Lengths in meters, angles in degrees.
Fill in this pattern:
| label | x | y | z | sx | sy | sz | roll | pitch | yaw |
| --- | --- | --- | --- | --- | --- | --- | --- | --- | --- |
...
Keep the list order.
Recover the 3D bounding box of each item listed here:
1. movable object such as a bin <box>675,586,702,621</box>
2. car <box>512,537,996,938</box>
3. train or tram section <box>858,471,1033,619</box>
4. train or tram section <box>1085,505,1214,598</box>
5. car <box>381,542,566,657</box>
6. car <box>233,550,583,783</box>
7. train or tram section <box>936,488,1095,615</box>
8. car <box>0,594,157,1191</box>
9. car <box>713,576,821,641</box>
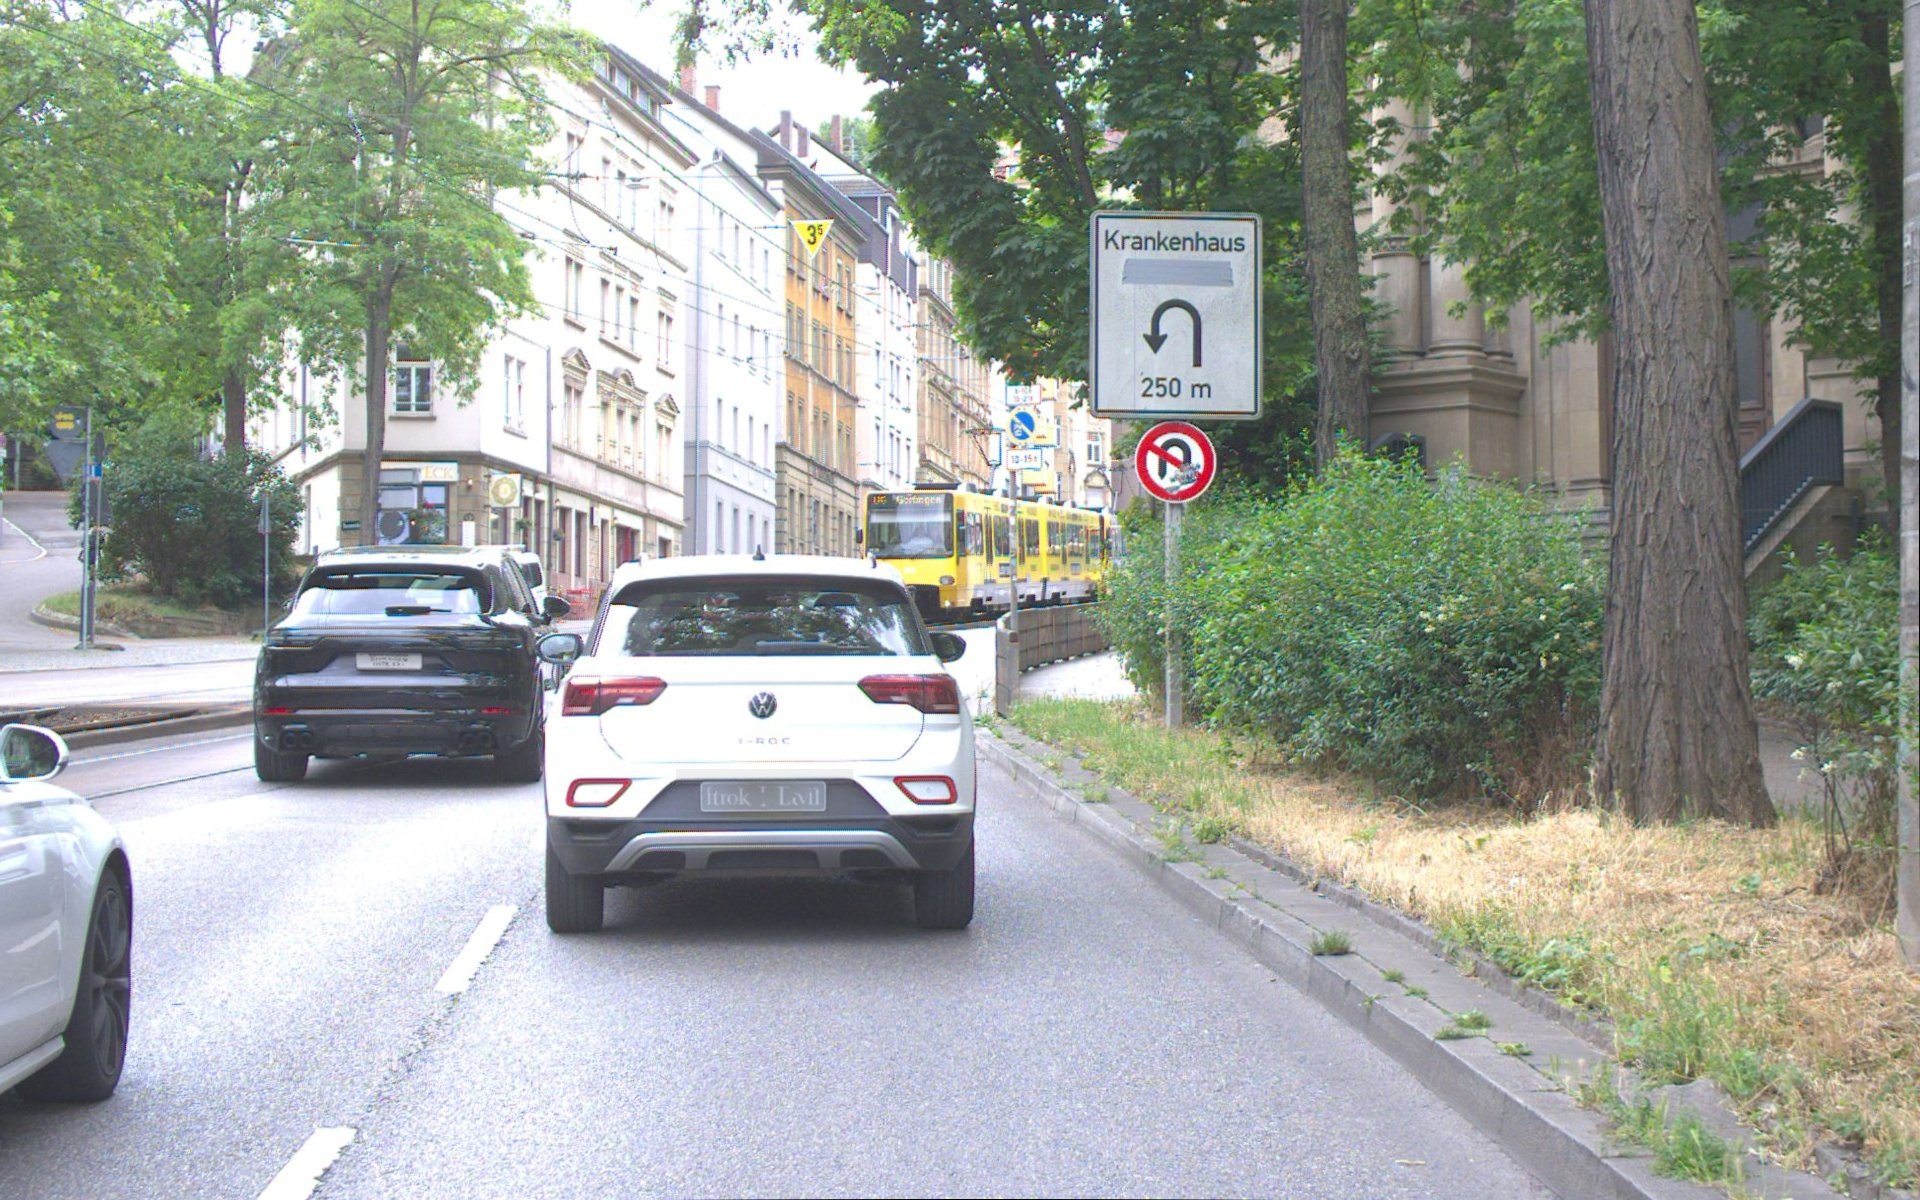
| label | x | y | z | sx | sy | sz | roll | pitch | yaw |
| --- | --- | --- | --- | --- | --- | --- | --- | --- | --- |
| movable object such as a bin | -8.293 | 0.105 | 105.040 | 0.687 | 1.070 | 0.676 | 0 | 0 | 9 |
| car | -0.975 | 0.521 | 15.396 | 1.878 | 1.549 | 4.001 | 0 | 0 | -5 |
| train or tram section | -0.218 | -1.457 | 95.270 | 2.883 | 3.713 | 14.852 | 1 | 0 | 7 |
| train or tram section | 8.370 | -1.991 | 148.784 | 2.878 | 3.713 | 18.747 | 1 | 0 | 11 |
| car | -8.557 | -0.044 | 60.894 | 1.948 | 1.939 | 5.001 | 0 | 1 | 8 |
| car | -3.963 | 0.433 | 25.396 | 2.038 | 1.566 | 4.358 | 0 | 0 | -2 |
| train or tram section | 2.017 | -1.493 | 111.915 | 2.877 | 3.713 | 18.696 | 1 | 0 | 8 |
| car | -3.273 | 0.724 | 7.914 | 1.879 | 1.450 | 4.618 | 0 | 0 | -2 |
| car | -4.743 | 0.196 | 84.981 | 1.994 | 1.547 | 3.999 | -1 | 0 | 6 |
